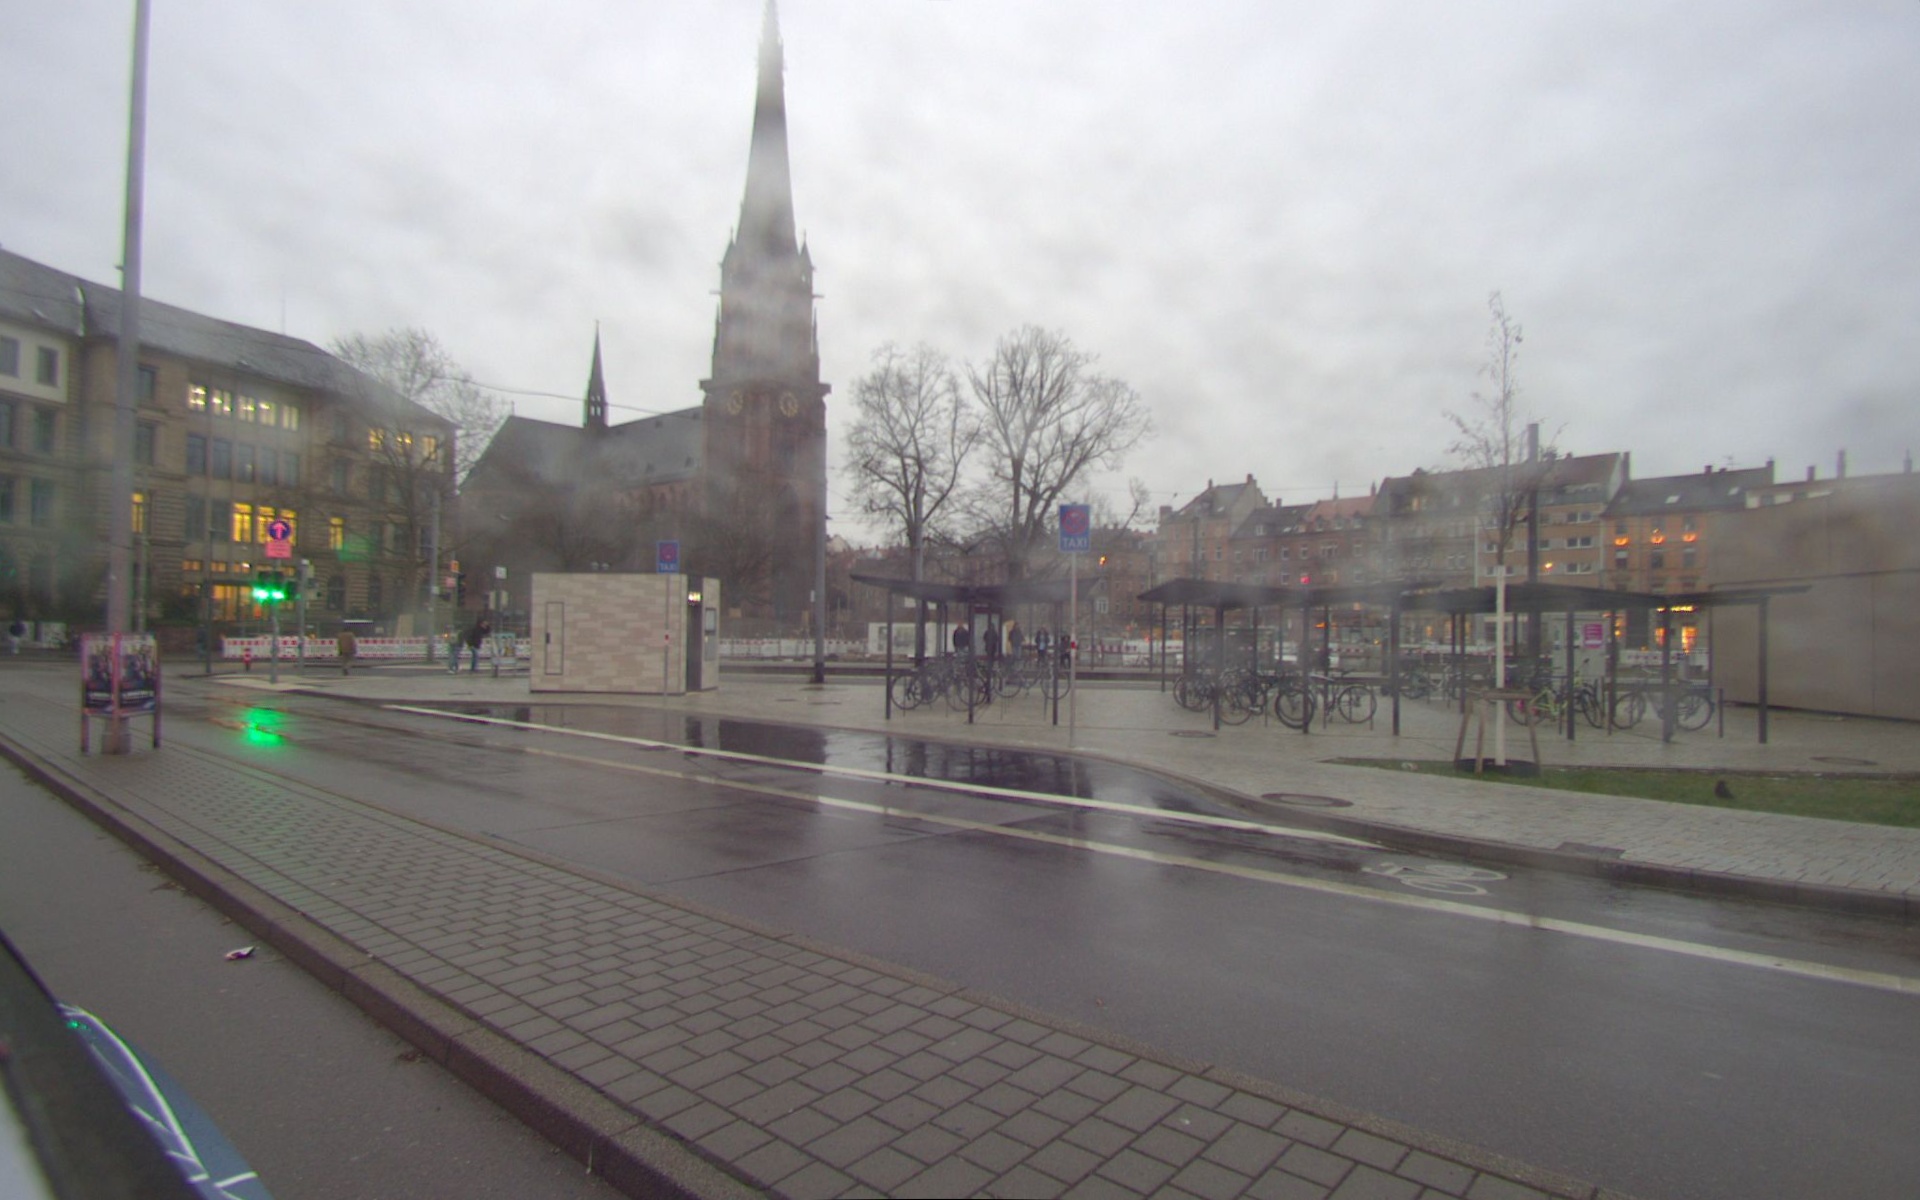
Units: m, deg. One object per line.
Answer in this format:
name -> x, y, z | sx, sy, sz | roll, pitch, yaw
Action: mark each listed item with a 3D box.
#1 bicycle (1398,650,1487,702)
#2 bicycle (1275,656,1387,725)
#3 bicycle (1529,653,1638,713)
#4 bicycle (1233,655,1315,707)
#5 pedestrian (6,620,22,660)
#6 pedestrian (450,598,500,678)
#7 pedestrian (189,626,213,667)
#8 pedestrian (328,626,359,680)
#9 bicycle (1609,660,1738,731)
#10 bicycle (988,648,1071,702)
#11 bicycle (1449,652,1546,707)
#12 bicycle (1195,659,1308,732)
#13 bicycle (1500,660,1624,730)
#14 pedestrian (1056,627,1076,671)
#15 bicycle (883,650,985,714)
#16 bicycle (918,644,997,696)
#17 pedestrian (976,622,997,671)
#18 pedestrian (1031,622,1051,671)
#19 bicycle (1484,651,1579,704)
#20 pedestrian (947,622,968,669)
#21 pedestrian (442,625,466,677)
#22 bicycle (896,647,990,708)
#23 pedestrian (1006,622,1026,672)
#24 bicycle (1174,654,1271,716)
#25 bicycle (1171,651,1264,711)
bicycle -> 11.848, 1.860, 24.889 | 1.879, 1.174, 0.548 | 1, 0, 12
bicycle -> 6.917, 1.683, 18.920 | 1.879, 1.174, 0.548 | 1, 0, 12
bicycle -> 13.302, 1.755, 21.628 | 1.879, 1.174, 0.548 | 1, 0, 12
bicycle -> 7.747, 1.992, 25.038 | 1.879, 1.174, 0.548 | 1, 0, 12
pedestrian -> -49.008, 2.069, 52.438 | 0.563, 2.029, 0.587 | 0, 0, -45
pedestrian -> -14.817, 1.141, 30.914 | 1.062, 2.388, 0.984 | 1, 0, 37
pedestrian -> -38.800, 2.369, 51.748 | 0.733, 2.029, 0.644 | 1, 0, 4
pedestrian -> -19.754, 1.695, 32.443 | 0.663, 1.687, 0.732 | 1, 0, -17
bicycle -> 12.660, 1.687, 17.978 | 1.872, 1.174, 0.550 | 1, 0, 1
bicycle -> 1.617, 1.734, 23.521 | 1.879, 1.174, 0.548 | 1, 0, 12
bicycle -> 12.461, 1.842, 23.510 | 1.879, 1.174, 0.548 | 1, 0, 12
bicycle -> 5.164, 1.683, 18.004 | 1.879, 1.174, 0.548 | 1, 0, 12
bicycle -> 11.119, 1.738, 18.732 | 1.879, 1.174, 0.548 | 1, 0, 12
pedestrian -> 4.012, 1.853, 38.236 | 0.709, 1.630, 0.713 | 1, -1, 7
bicycle -> -0.508, 1.600, 19.932 | 1.922, 1.174, 0.548 | 1, 0, 12
bicycle -> -0.053, 1.713, 24.886 | 1.879, 1.174, 0.548 | 1, 0, 12
pedestrian -> 1.016, 1.746, 38.507 | 0.709, 1.820, 0.713 | 1, -1, 7
pedestrian -> 3.083, 1.766, 38.306 | 0.709, 1.820, 0.713 | 1, -1, 7
bicycle -> 13.794, 1.856, 24.465 | 1.879, 1.174, 0.548 | 1, 0, 12
pedestrian -> -0.087, 1.730, 38.606 | 0.709, 1.770, 0.713 | 1, -1, 7
pedestrian -> -18.276, 1.832, 36.561 | 0.595, 1.827, 0.827 | -3, 1, -35
bicycle -> -0.346, 1.608, 21.144 | 1.879, 1.174, 0.548 | 1, 0, 12
pedestrian -> 2.117, 1.761, 38.205 | 0.709, 1.820, 0.713 | 1, -1, 7
bicycle -> 5.341, 1.719, 20.684 | 1.879, 1.174, 0.548 | 1, 0, 12
bicycle -> 5.444, 1.698, 21.471 | 1.879, 1.174, 0.548 | 1, 0, 12
